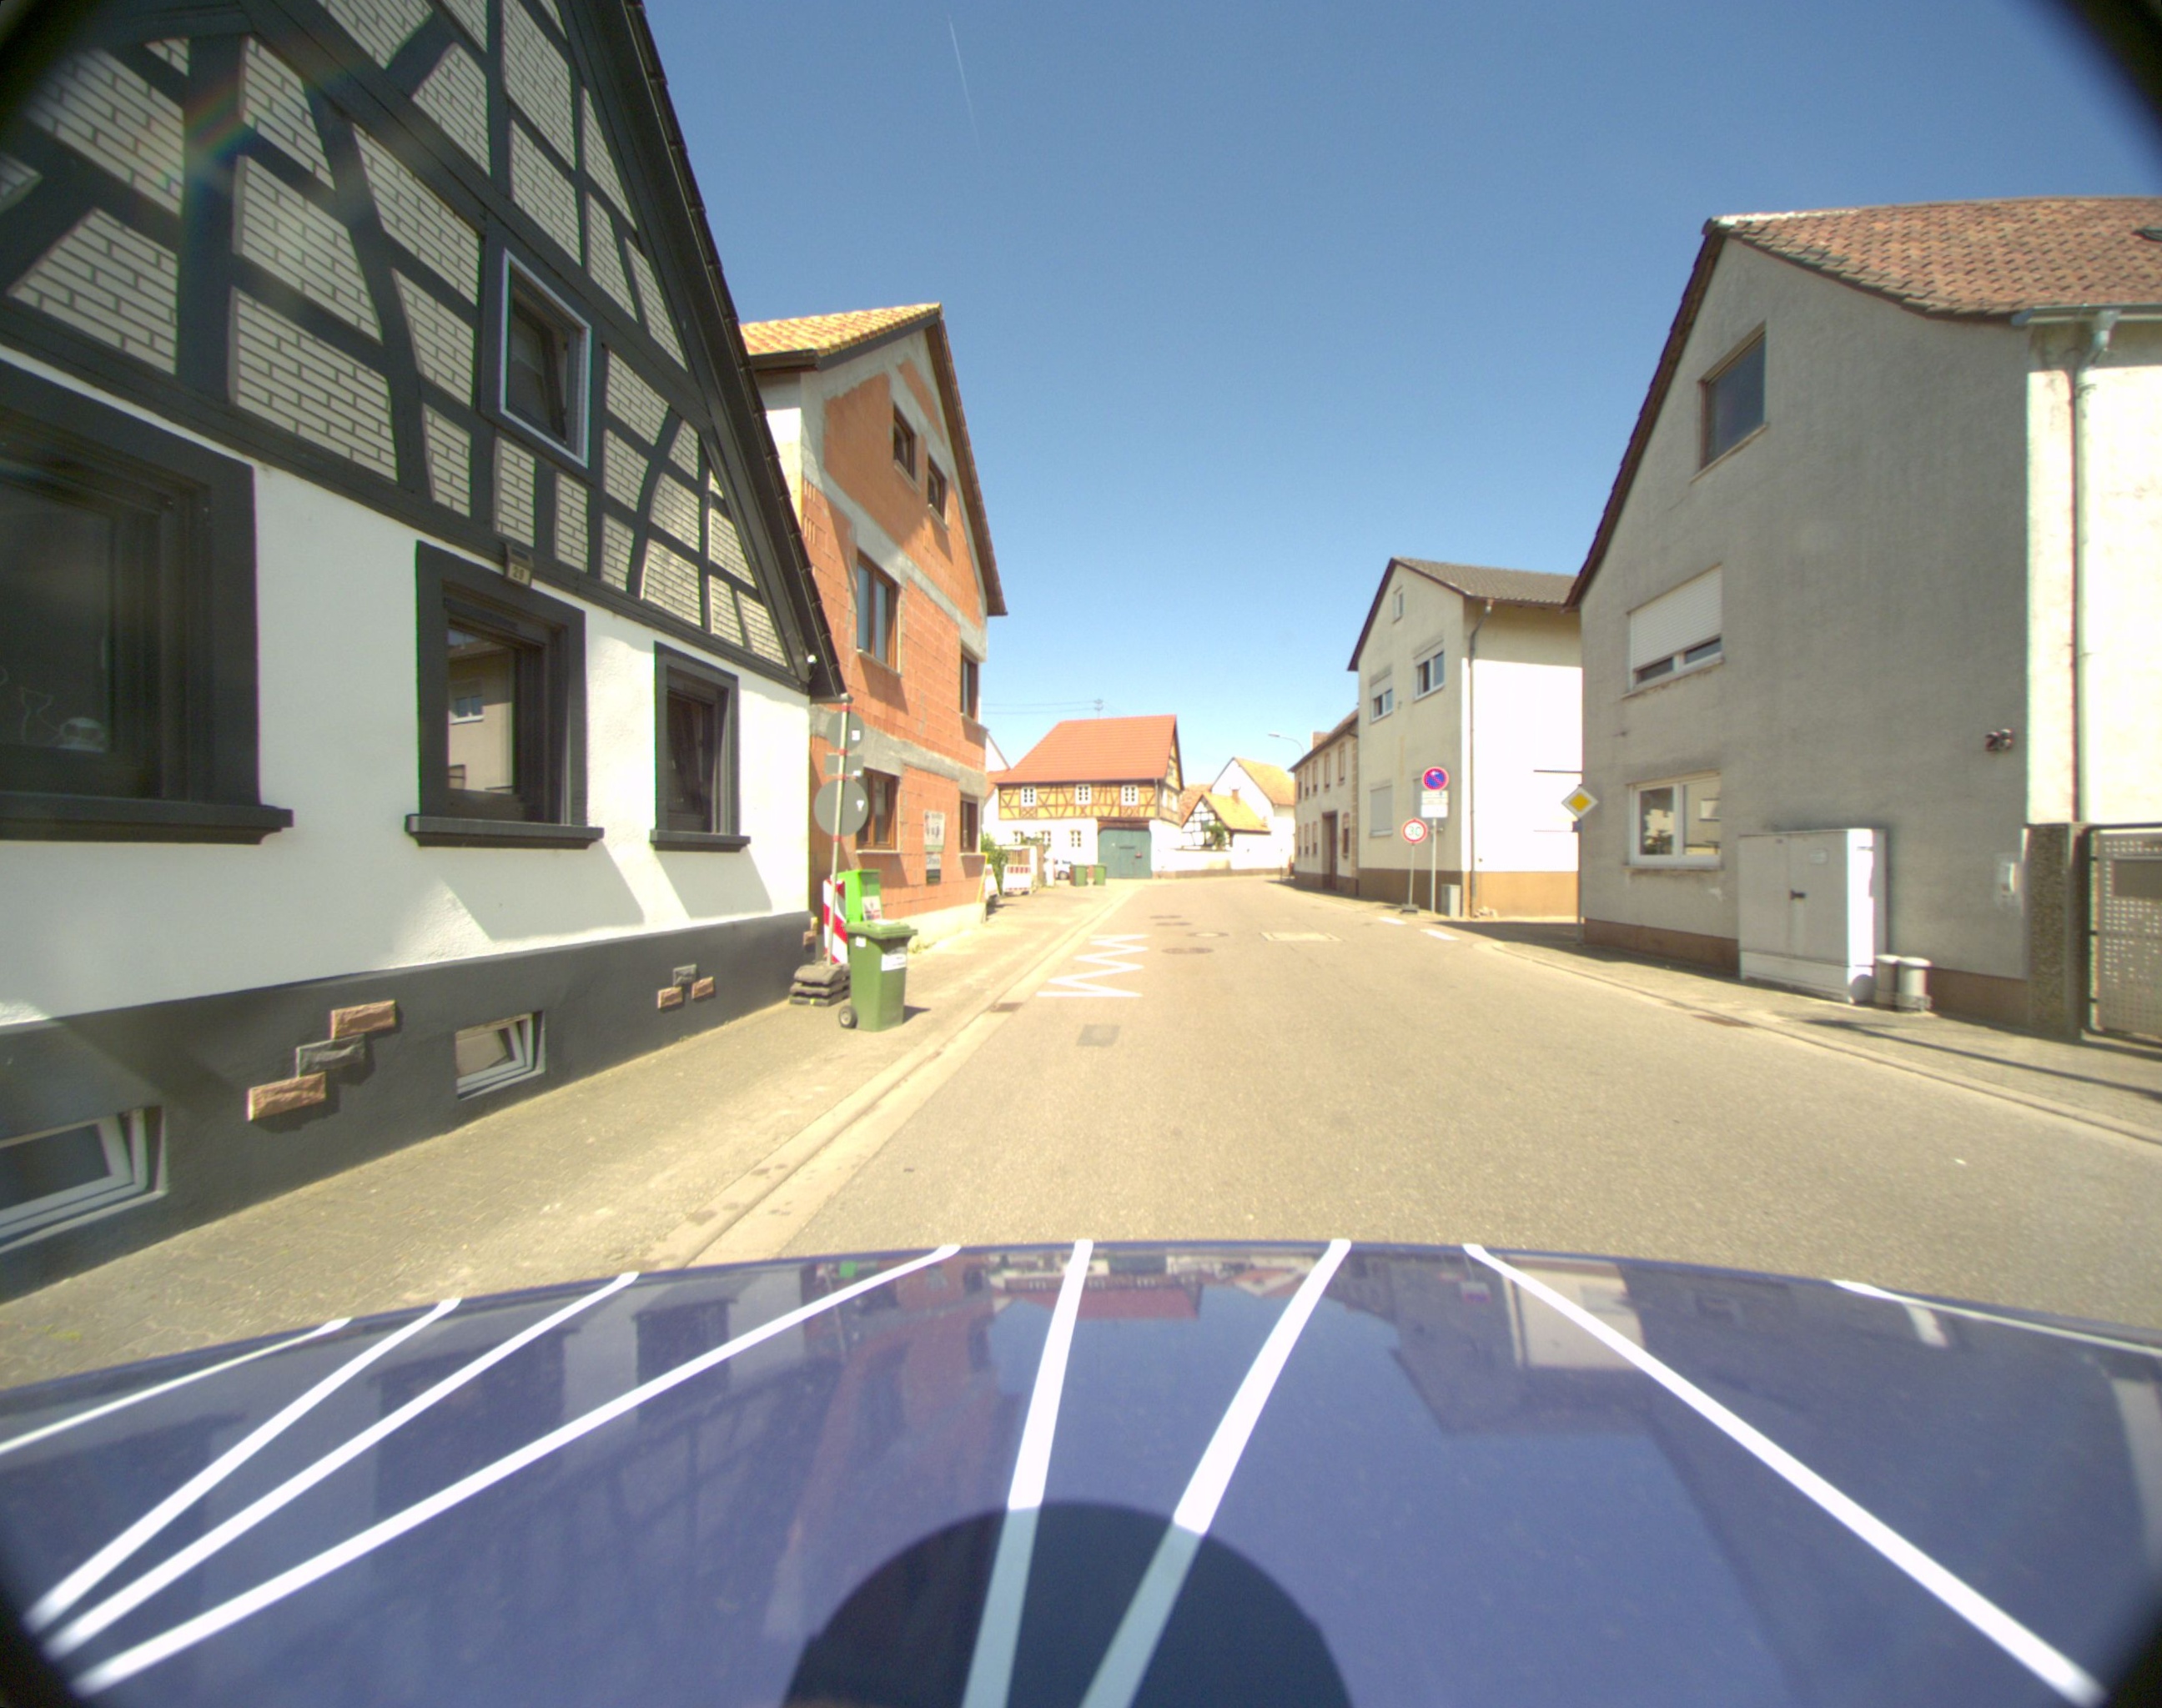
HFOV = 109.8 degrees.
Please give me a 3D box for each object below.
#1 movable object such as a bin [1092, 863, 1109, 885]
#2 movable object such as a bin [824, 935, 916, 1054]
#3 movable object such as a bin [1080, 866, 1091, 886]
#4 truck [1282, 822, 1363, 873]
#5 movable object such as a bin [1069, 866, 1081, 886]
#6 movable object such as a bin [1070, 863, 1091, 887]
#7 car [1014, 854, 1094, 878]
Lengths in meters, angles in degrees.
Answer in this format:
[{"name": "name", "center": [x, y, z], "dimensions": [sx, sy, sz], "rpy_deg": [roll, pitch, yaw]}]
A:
[{"name": "movable object such as a bin", "center": [0.983, 0.979, 37.810], "dimensions": [0.687, 1.085, 0.638], "rpy_deg": [0, 0, 15]}, {"name": "movable object such as a bin", "center": [-1.830, 1.198, 6.623], "dimensions": [0.538, 0.908, 0.552], "rpy_deg": [0, 1, 24]}, {"name": "movable object such as a bin", "center": [0.224, 1.055, 37.061], "dimensions": [0.445, 0.944, 0.463], "rpy_deg": [0, 1, 15]}, {"name": "truck", "center": [19.424, -0.506, 60.558], "dimensions": [2.696, 3.728, 10.892], "rpy_deg": [0, 0, 37]}, {"name": "movable object such as a bin", "center": [-0.273, 1.052, 37.078], "dimensions": [0.465, 0.965, 0.497], "rpy_deg": [0, 0, 14]}, {"name": "movable object such as a bin", "center": [-0.041, 0.980, 35.748], "dimensions": [0.763, 1.066, 0.671], "rpy_deg": [0, 0, -25]}, {"name": "car", "center": [-1.764, 0.753, 49.197], "dimensions": [4.757, 1.443, 2.003], "rpy_deg": [0, 0, 18]}]
